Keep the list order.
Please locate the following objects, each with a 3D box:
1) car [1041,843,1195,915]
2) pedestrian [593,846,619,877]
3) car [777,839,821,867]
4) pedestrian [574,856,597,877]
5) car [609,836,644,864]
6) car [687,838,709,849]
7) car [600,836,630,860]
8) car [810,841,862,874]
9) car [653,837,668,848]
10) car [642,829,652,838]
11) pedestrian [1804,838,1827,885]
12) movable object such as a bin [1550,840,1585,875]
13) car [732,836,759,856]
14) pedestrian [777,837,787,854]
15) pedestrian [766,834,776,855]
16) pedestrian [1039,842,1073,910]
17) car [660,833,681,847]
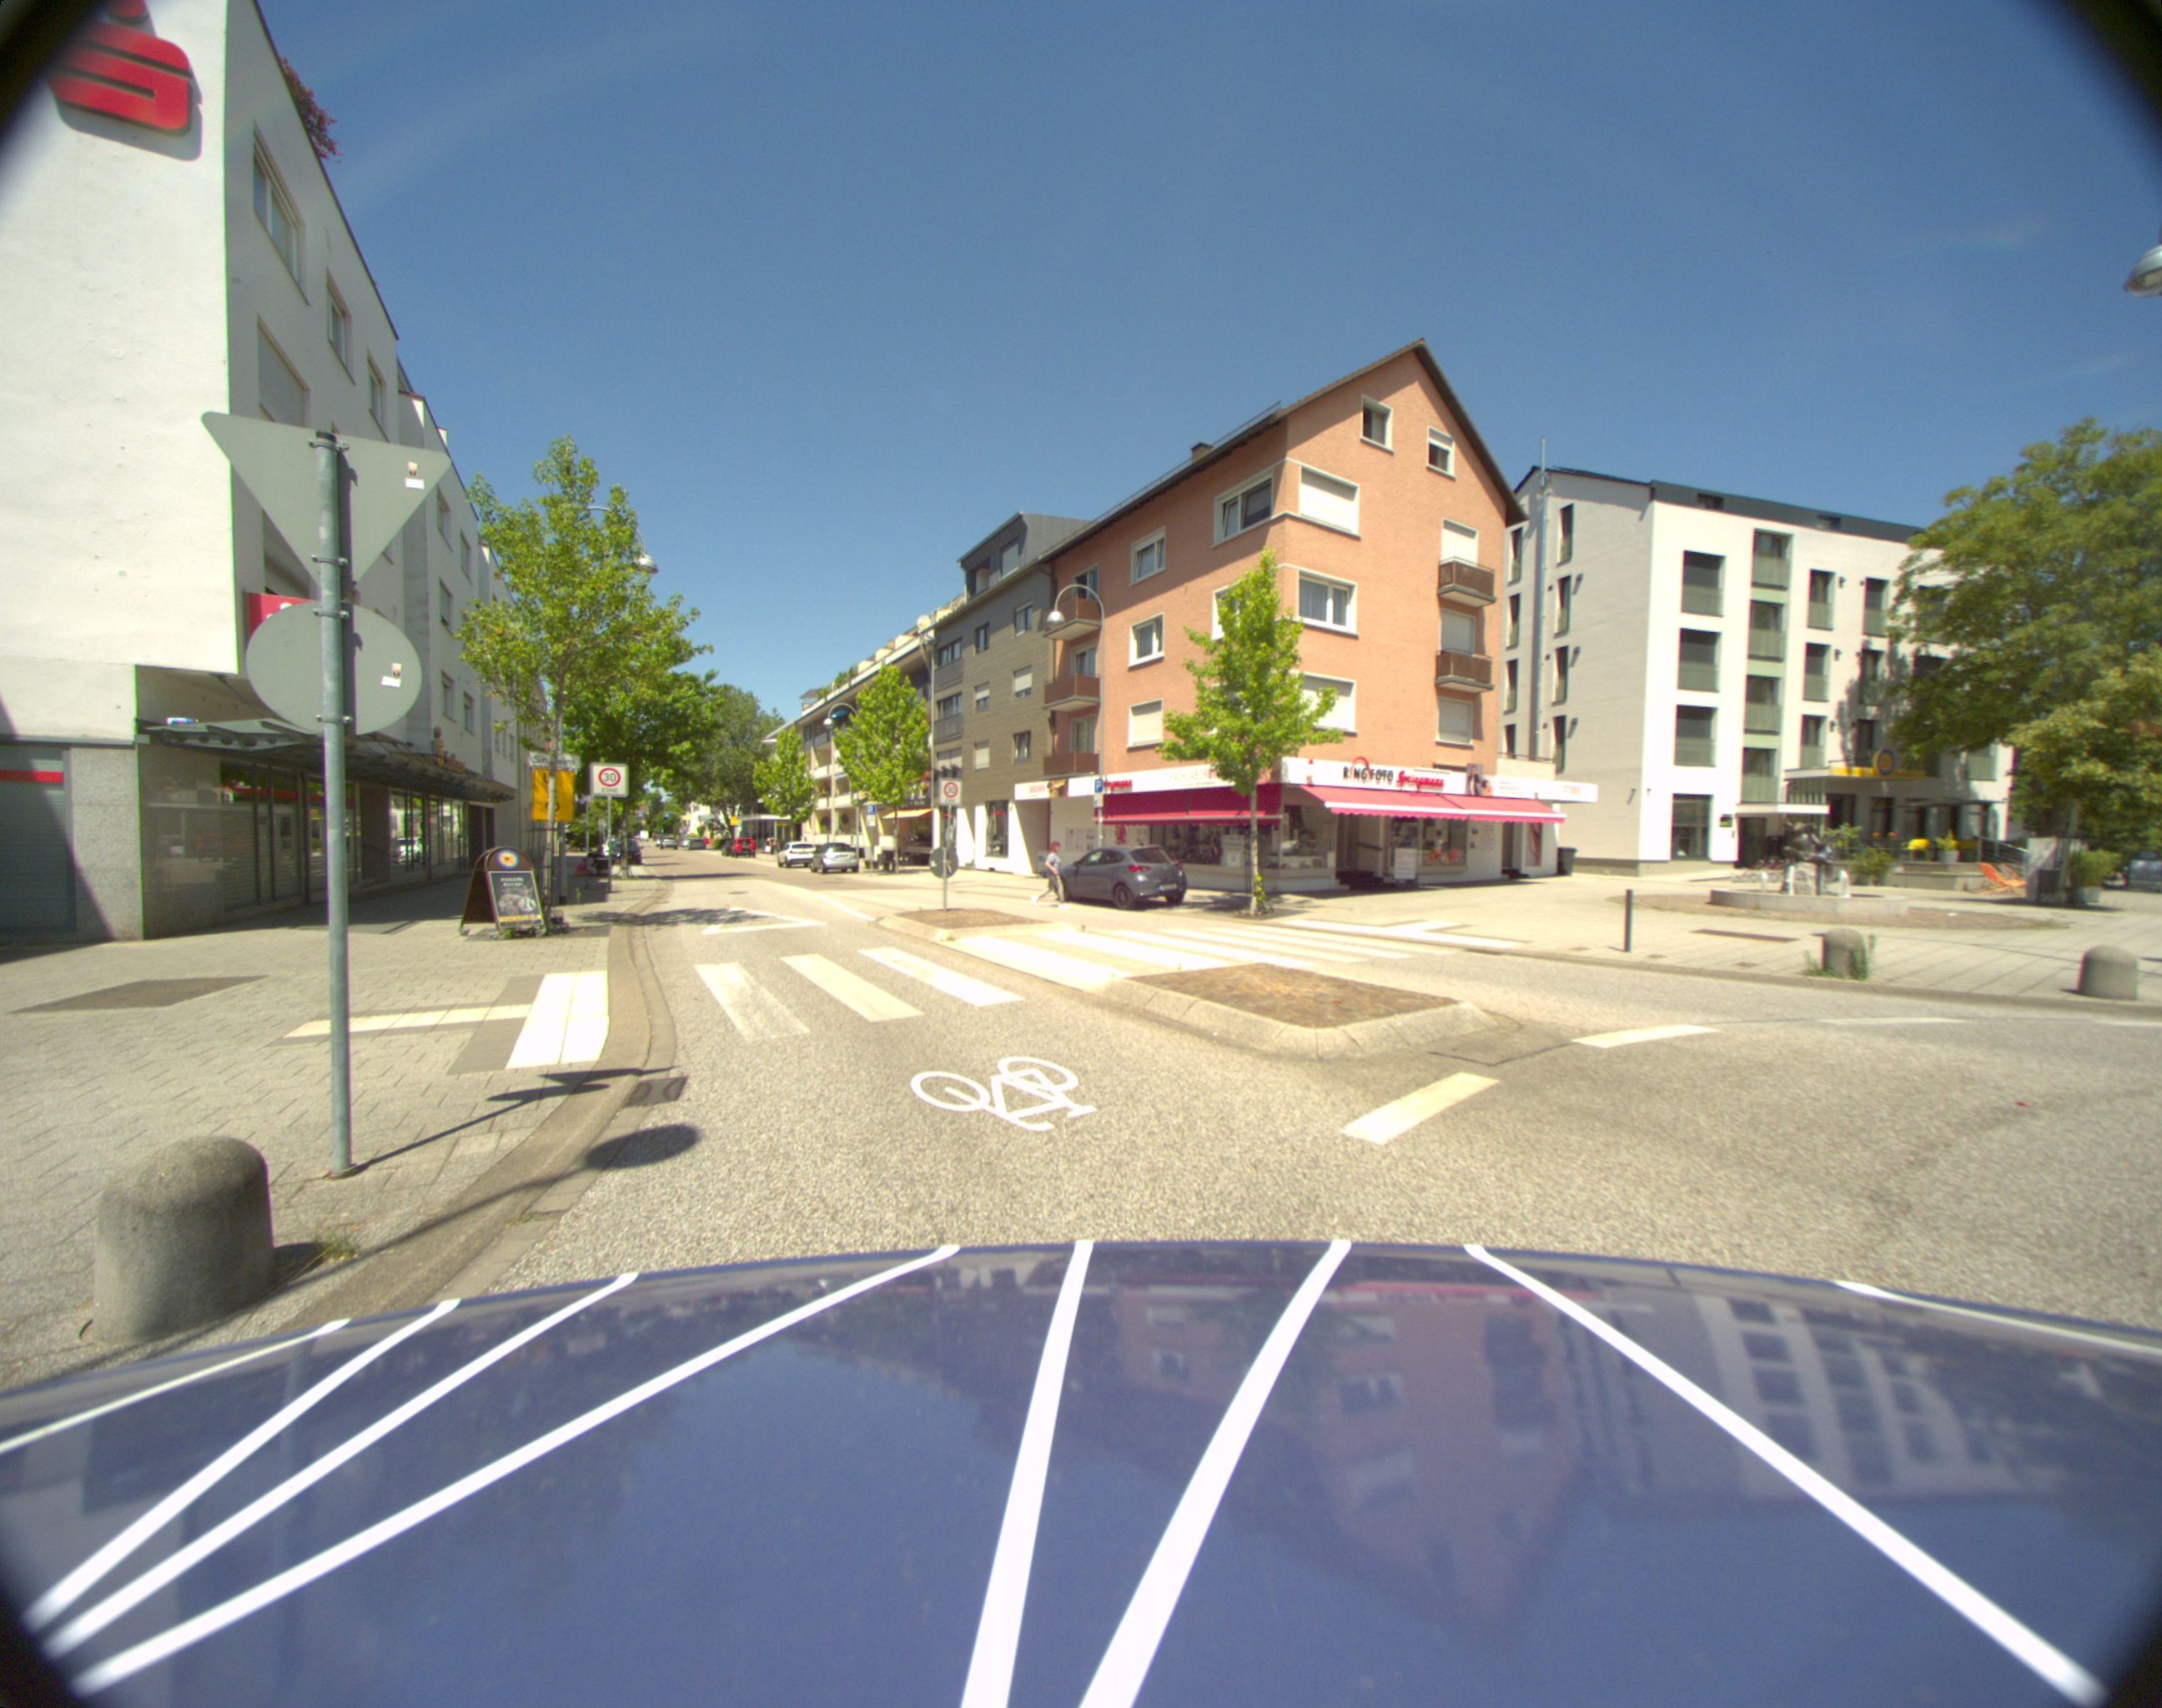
[{"bbox_3d":[0.802,0.525,18.947,1.675,1.478,4.049,-4,3,-34],"label":"car"},{"bbox_3d":[-19.620,0.302,31.394,0.763,1.233,0.537,0,2,-17],"label":"pedestrian"},{"bbox_3d":[-16.864,-0.094,45.362,1.703,1.583,4.288,-1,2,-31],"label":"car"},{"bbox_3d":[-20.498,0.502,31.458,0.680,0.847,0.537,1,2,-18],"label":"pedestrian"},{"bbox_3d":[-30.155,-0.295,50.360,1.697,1.712,3.989,2,0,-34],"label":"car"},{"bbox_3d":[-50.620,-1.414,100.377,2.004,1.412,3.989,-1,2,-35],"label":"car"},{"bbox_3d":[-33.754,-0.475,54.968,1.697,1.712,4.122,-1,2,-34],"label":"car"},{"bbox_3d":[-11.740,0.117,36.284,1.629,1.465,3.539,-1,2,-31],"label":"car"},{"bbox_3d":[-66.423,-1.831,119.986,1.780,1.624,4.287,-2,3,-33],"label":"car"},{"bbox_3d":[-114.597,-5.366,200.462,2.237,2.453,5.235,-1,2,-31],"label":"car"},{"bbox_3d":[25.631,0.244,26.512,0.451,1.610,0.449,-1,2,-33],"label":"pedestrian"},{"bbox_3d":[17.700,0.118,27.652,0.838,1.246,0.745,-1,2,-29],"label":"movable object such as a bin"},{"bbox_3d":[-28.989,-0.711,65.618,1.648,1.653,3.361,-3,3,-31],"label":"car"},{"bbox_3d":[-26.180,-0.722,66.611,0.780,1.490,0.696,0,2,-20],"label":"pedestrian"},{"bbox_3d":[-26.901,-0.821,65.917,0.669,1.794,0.684,0,2,-16],"label":"pedestrian"},{"bbox_3d":[-0.588,0.509,17.954,0.735,1.601,0.559,0,2,-8],"label":"pedestrian"},{"bbox_3d":[-54.185,-1.900,100.242,1.910,1.744,4.743,0,1,-34],"label":"car"}]
